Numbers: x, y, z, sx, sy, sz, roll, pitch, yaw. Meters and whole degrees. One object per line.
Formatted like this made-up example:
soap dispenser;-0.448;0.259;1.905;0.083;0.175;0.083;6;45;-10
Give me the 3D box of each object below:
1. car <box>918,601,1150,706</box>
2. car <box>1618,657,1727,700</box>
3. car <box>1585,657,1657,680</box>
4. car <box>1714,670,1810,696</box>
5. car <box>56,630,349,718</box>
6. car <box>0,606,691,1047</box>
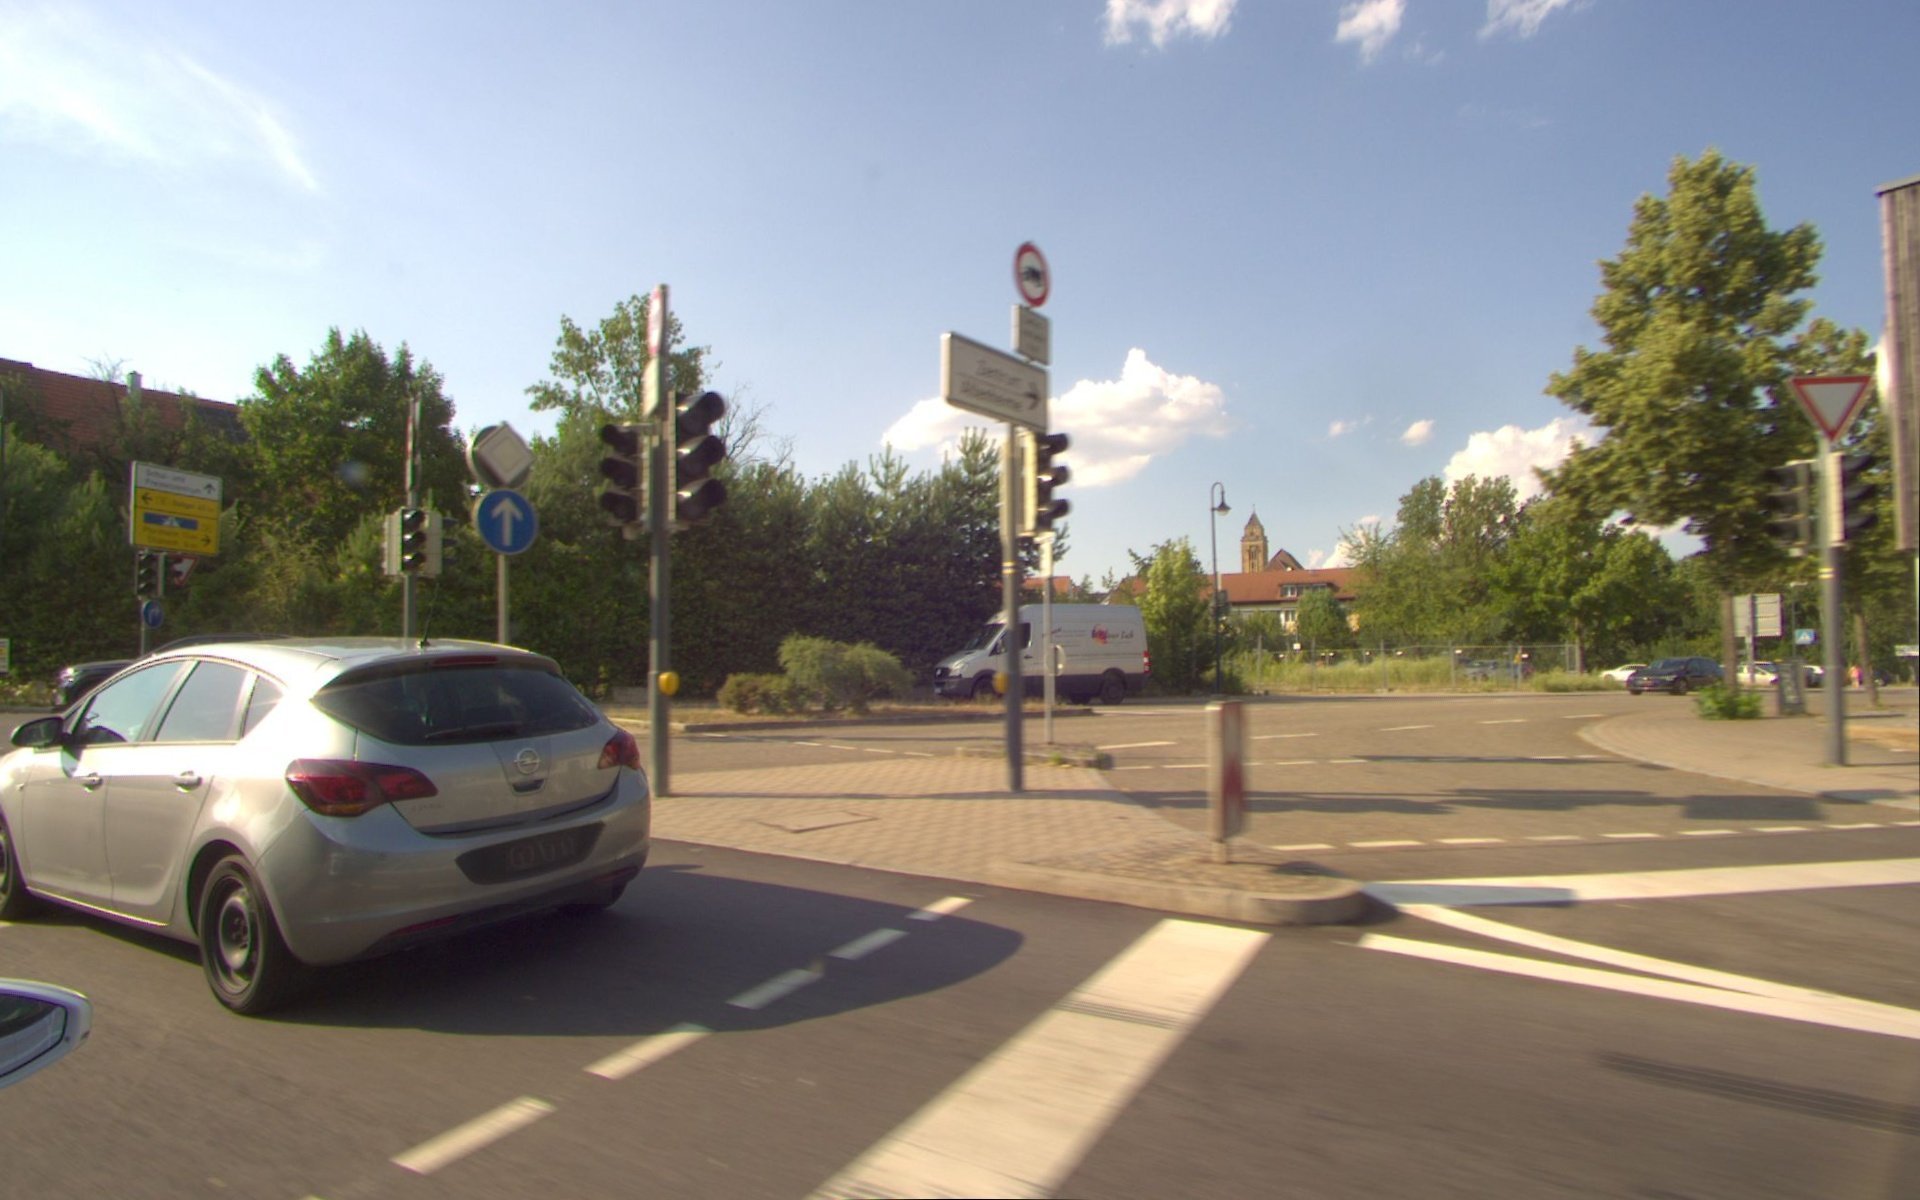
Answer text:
car;1.962;1.400;26.436;5.762;2.553;2.189;1;-2;-21
car;26.793;2.916;37.632;3.942;1.471;1.849;1;-2;-29
car;51.102;5.290;77.473;1.872;1.744;4.286;0;-3;-37
car;49.649;5.090;62.037;1.872;1.473;4.286;1;-3;-37
car;-14.632;1.407;19.650;4.199;1.587;1.788;1;-2;-21
car;-3.569;0.823;5.296;4.244;1.509;1.718;-1;-2;32
